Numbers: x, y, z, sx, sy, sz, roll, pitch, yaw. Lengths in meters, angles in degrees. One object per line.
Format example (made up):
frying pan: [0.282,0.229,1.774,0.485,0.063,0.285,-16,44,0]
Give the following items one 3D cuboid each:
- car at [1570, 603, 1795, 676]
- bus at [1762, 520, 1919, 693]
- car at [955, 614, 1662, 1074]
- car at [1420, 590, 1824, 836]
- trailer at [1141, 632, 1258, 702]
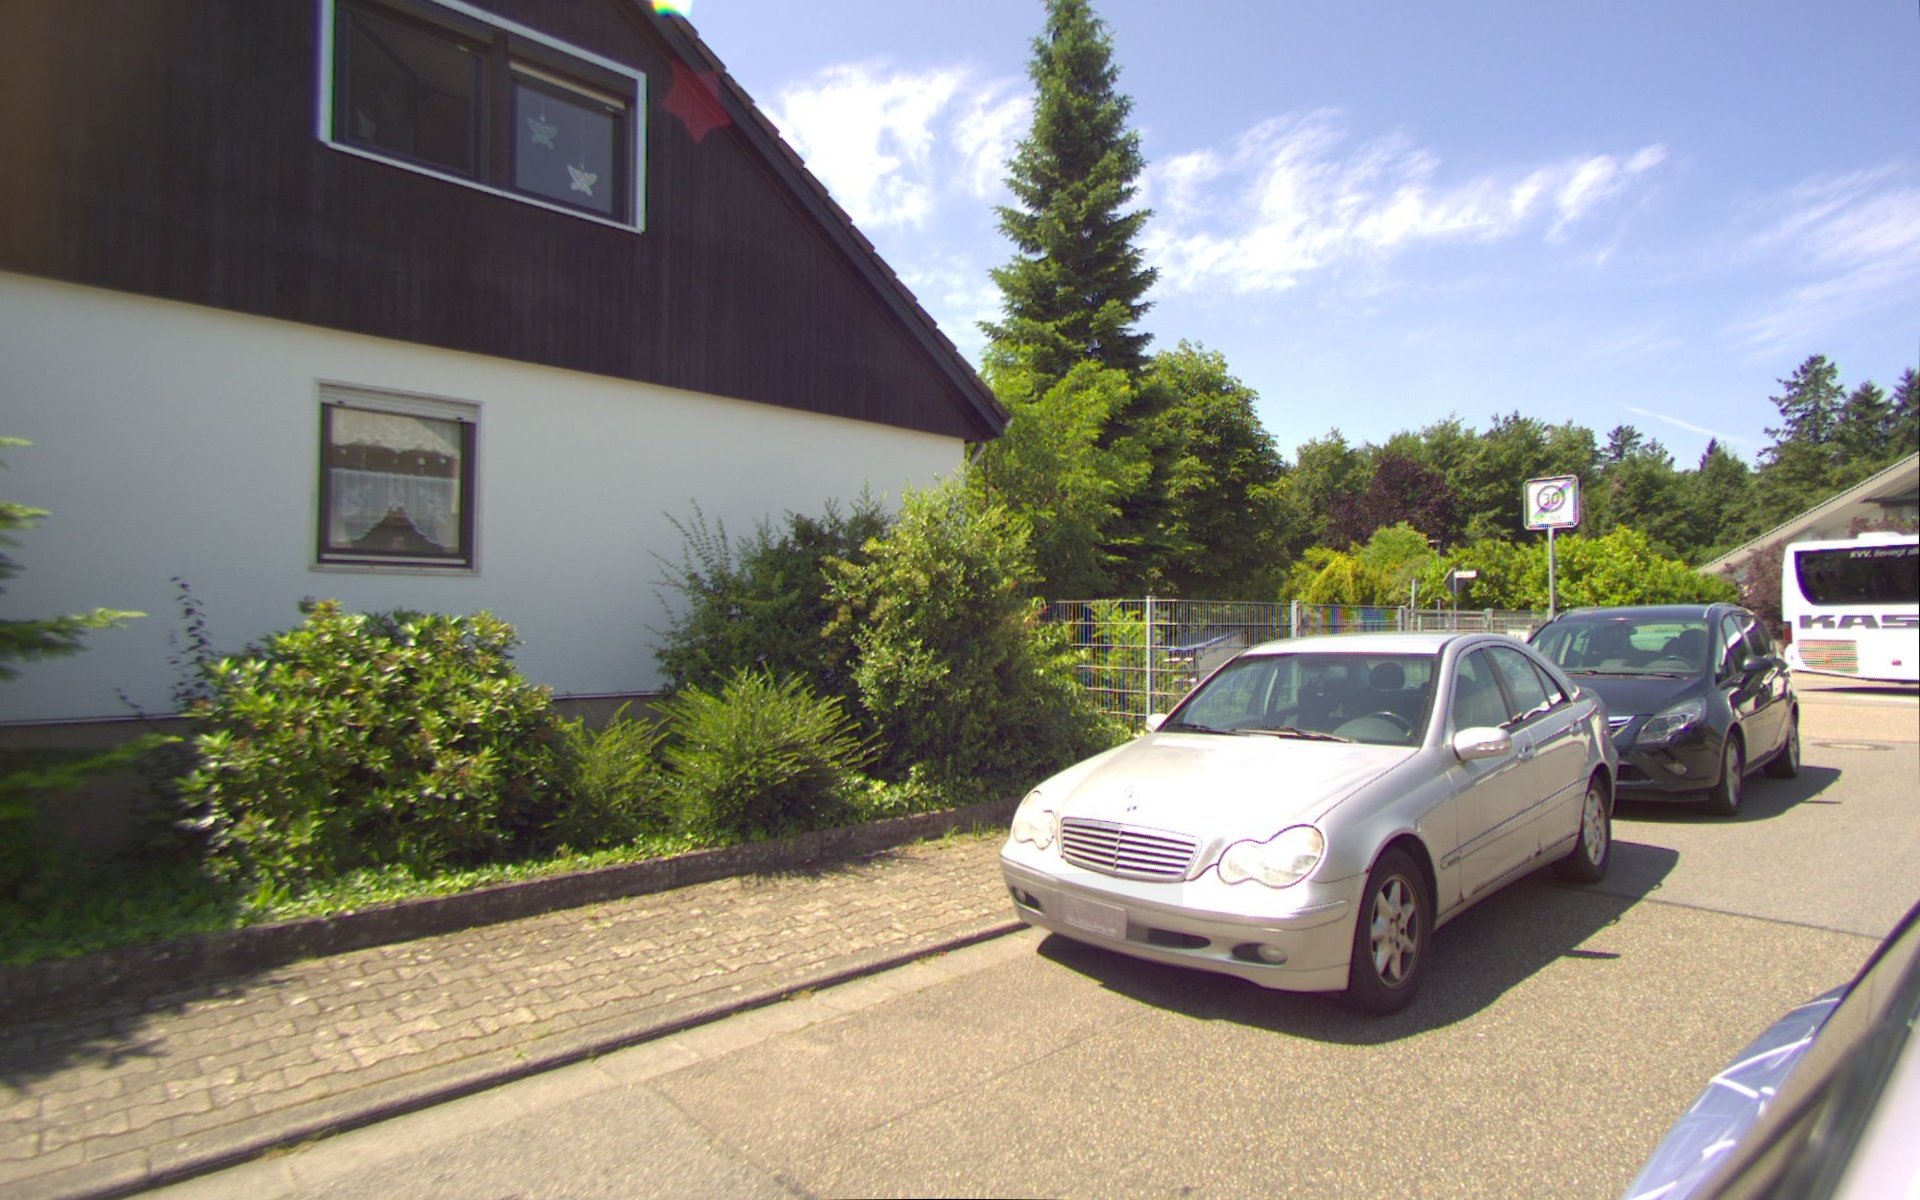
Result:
car: [20.474,1.082,29.019,1.977,1.880,5.077,1,-1,-18]
bus: [20.995,0.103,16.345,3.125,3.286,12.734,1,-1,-22]
car: [2.124,0.842,5.363,4.261,1.479,1.689,2,-1,-42]
car: [6.192,0.831,9.229,4.601,1.683,1.966,2,-2,-42]
trailer: [4.161,1.118,17.456,1.101,1.098,2.190,0,-2,40]
